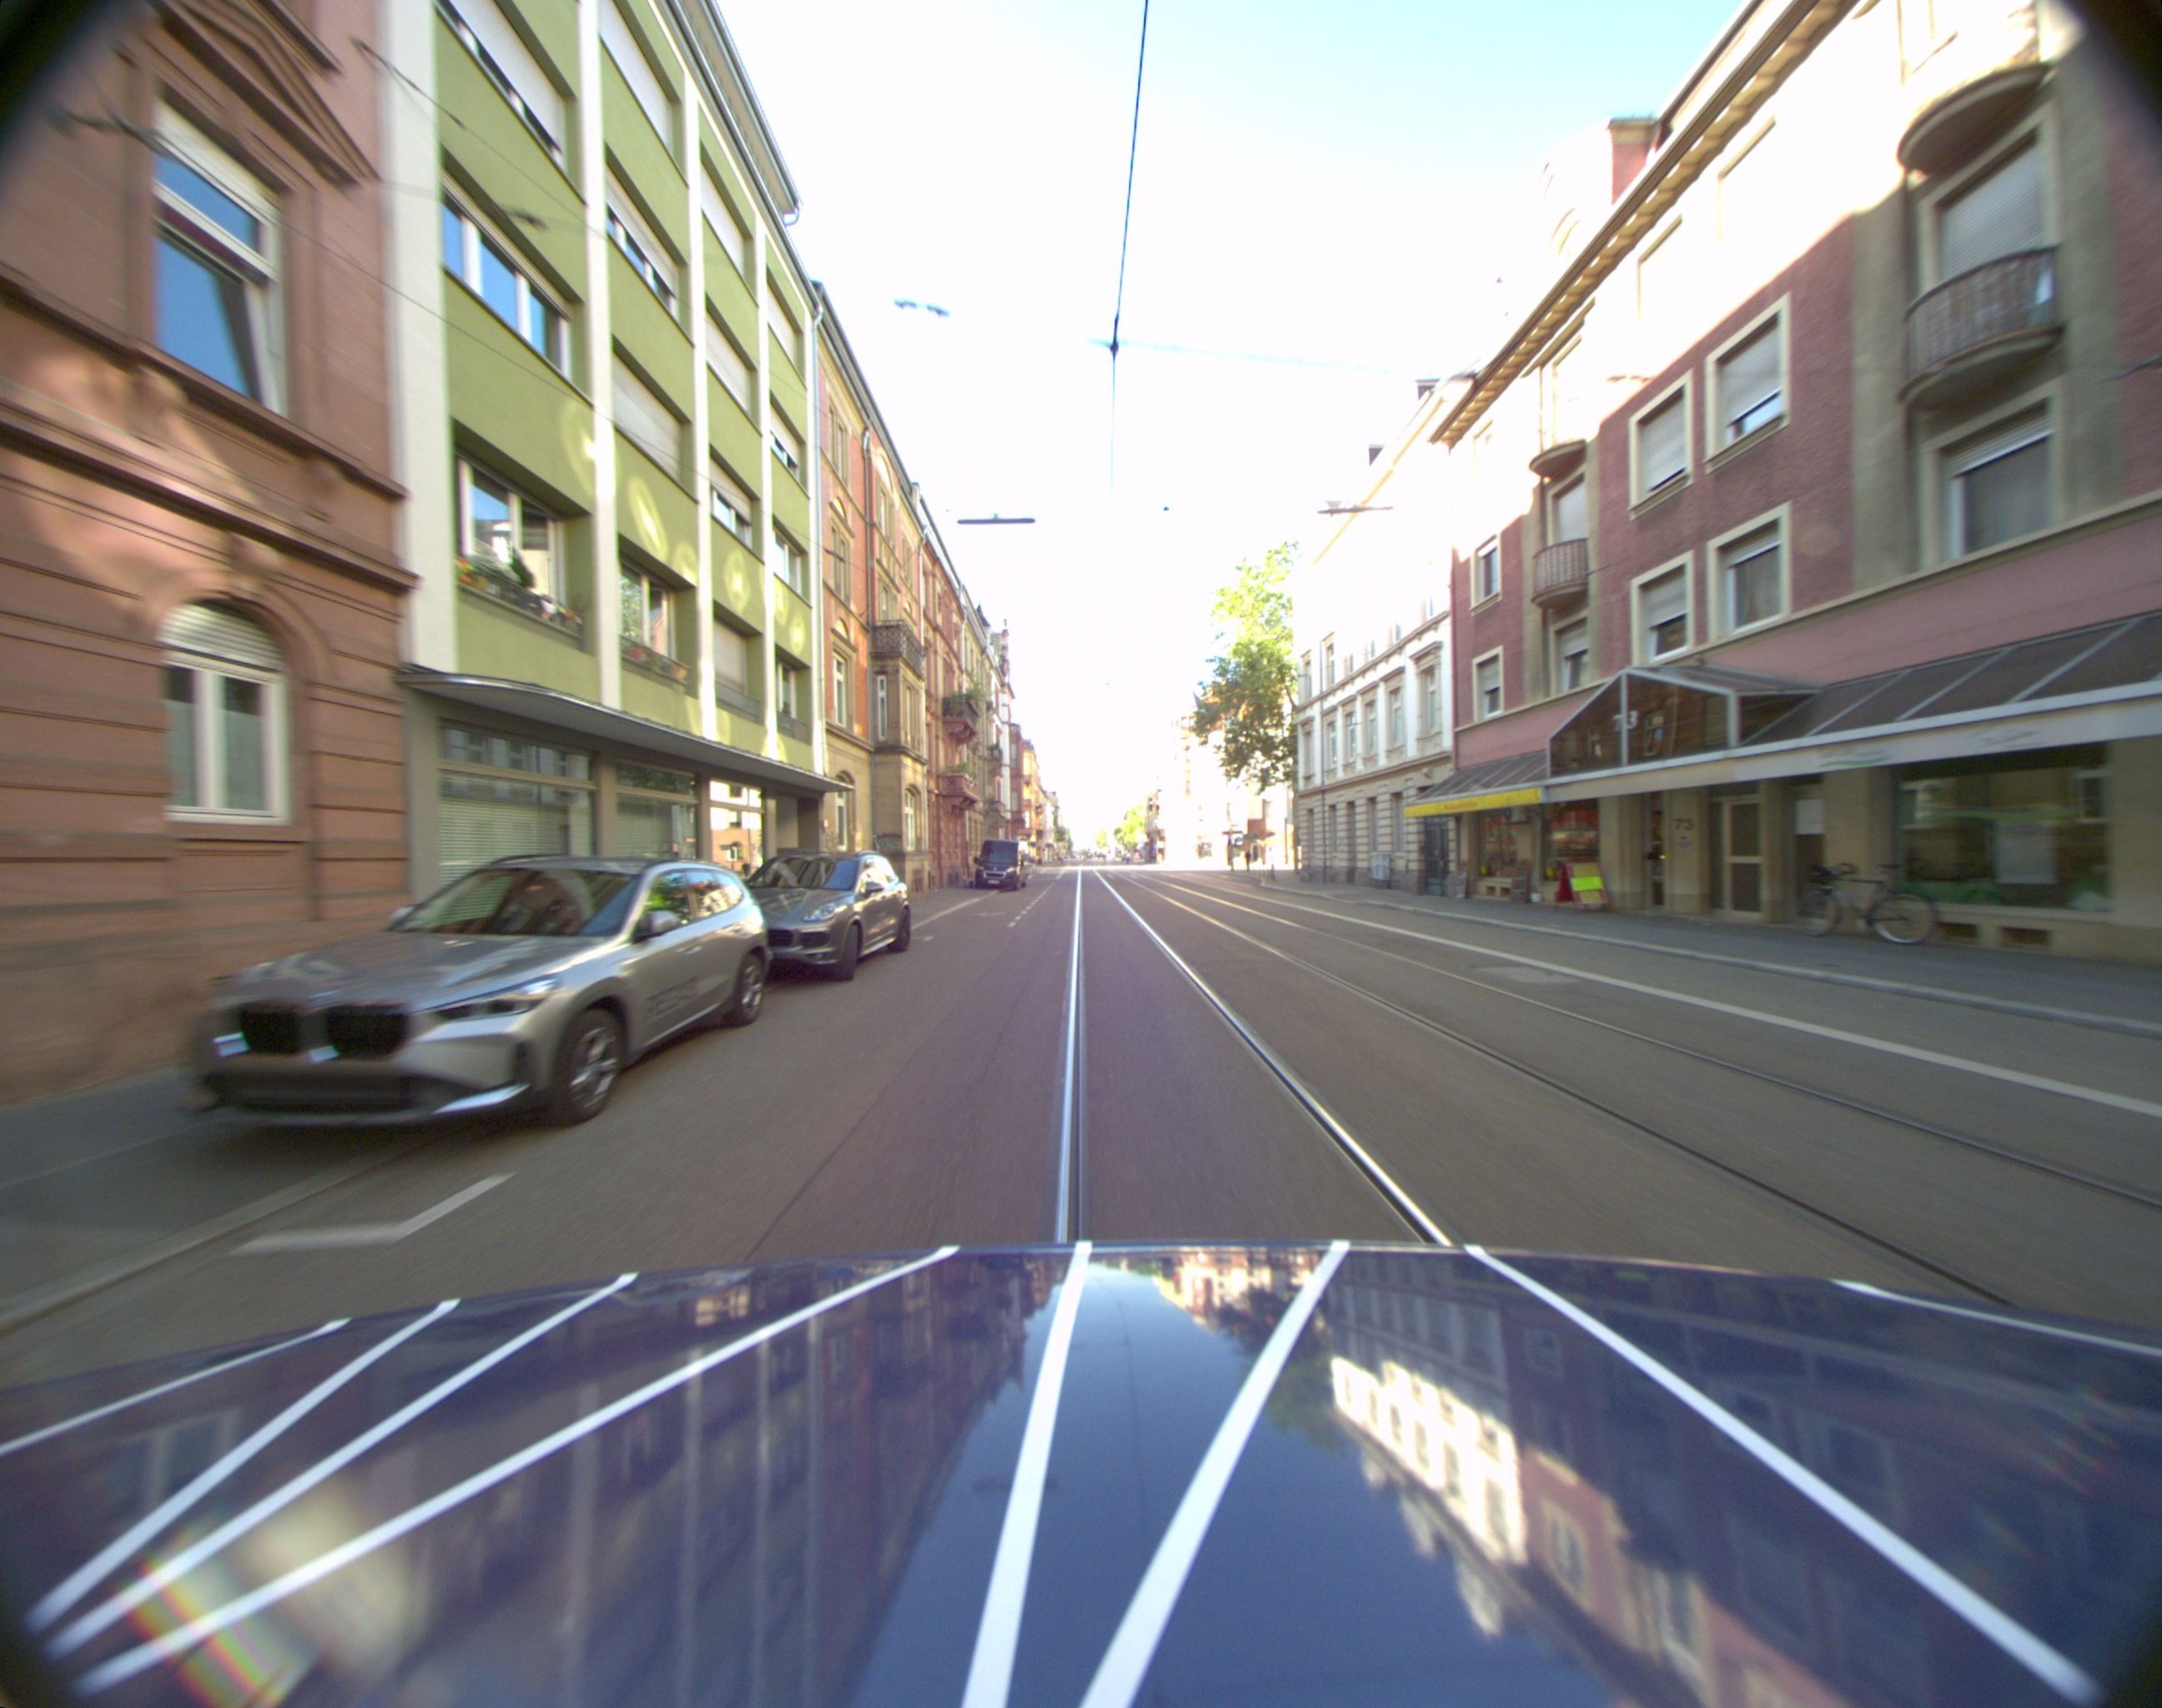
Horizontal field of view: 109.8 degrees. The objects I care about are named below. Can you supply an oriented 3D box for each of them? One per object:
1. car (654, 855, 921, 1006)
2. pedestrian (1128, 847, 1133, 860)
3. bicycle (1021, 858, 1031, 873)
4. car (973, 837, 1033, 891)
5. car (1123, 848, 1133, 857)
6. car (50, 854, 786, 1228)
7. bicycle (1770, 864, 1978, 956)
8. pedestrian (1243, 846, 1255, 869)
[{"bbox_3d":[-3.856,0.877,11.061,1.999,1.606,4.785,2,1,0],"label":"car"},{"bbox_3d":[7.901,-0.111,121.079,0.756,2.002,0.718,-2,1,0],"label":"pedestrian"},{"bbox_3d":[-4.279,0.880,59.090,0.647,1.143,1.688,-1,0,0],"label":"bicycle"},{"bbox_3d":[-3.824,0.425,38.421,2.128,2.478,5.856,-2,1,2],"label":"car"},{"bbox_3d":[10.440,-0.423,170.461,1.998,2.002,3.999,-1,0,0],"label":"car"},{"bbox_3d":[-3.951,0.877,5.791,1.871,1.637,4.399,-2,1,-4],"label":"car"},{"bbox_3d":[10.794,0.703,10.492,0.425,1.053,2.329,-2,1,0],"label":"bicycle"},{"bbox_3d":[13.824,0.254,62.460,0.795,1.837,0.809,-2,1,3],"label":"pedestrian"}]
